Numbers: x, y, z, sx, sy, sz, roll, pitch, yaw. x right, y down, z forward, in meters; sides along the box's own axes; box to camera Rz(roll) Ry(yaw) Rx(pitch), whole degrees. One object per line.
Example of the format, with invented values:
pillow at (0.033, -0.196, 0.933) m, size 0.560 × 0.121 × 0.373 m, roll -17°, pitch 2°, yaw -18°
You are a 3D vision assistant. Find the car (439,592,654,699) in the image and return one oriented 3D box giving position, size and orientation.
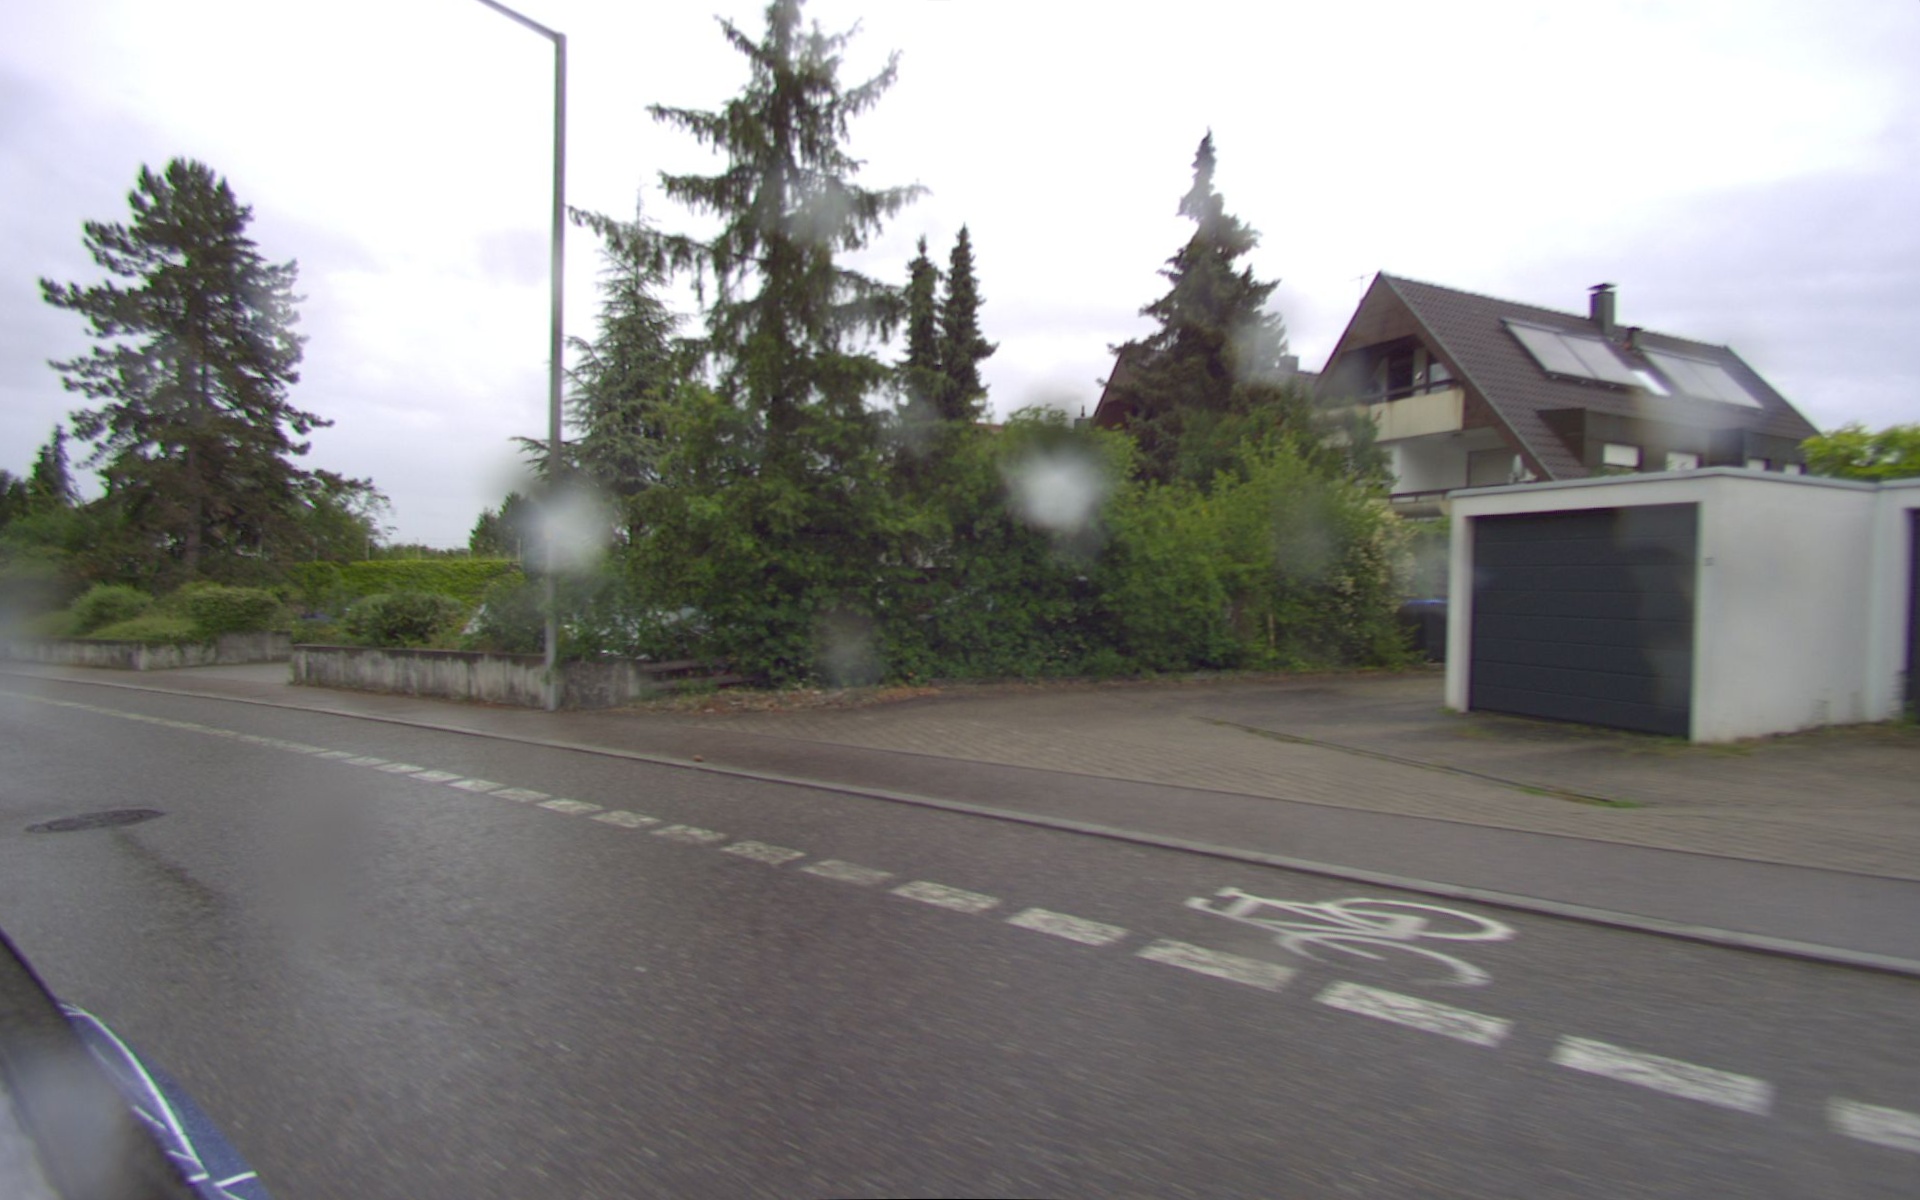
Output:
car at (-6.919, 0.676, 16.744) m, size 3.998 × 1.563 × 1.716 m, roll -1°, pitch -1°, yaw 42°

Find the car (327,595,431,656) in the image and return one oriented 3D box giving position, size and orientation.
car at (-16.546, 0.680, 28.738) m, size 1.968 × 1.586 × 4.007 m, roll 0°, pitch 0°, yaw -39°

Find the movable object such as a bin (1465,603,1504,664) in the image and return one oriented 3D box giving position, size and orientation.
movable object such as a bin at (9.062, 0.576, 17.479) m, size 0.408 × 1.032 × 0.476 m, roll -1°, pitch 0°, yaw -44°

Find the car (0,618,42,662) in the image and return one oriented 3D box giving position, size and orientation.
car at (-30.830, 1.225, 31.491) m, size 4.412 × 1.317 × 1.981 m, roll 0°, pitch -1°, yaw 28°

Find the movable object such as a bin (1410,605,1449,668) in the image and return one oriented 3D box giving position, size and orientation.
movable object such as a bin at (7.896, 0.608, 17.032) m, size 0.408 × 1.032 × 0.476 m, roll -1°, pitch 0°, yaw -44°
